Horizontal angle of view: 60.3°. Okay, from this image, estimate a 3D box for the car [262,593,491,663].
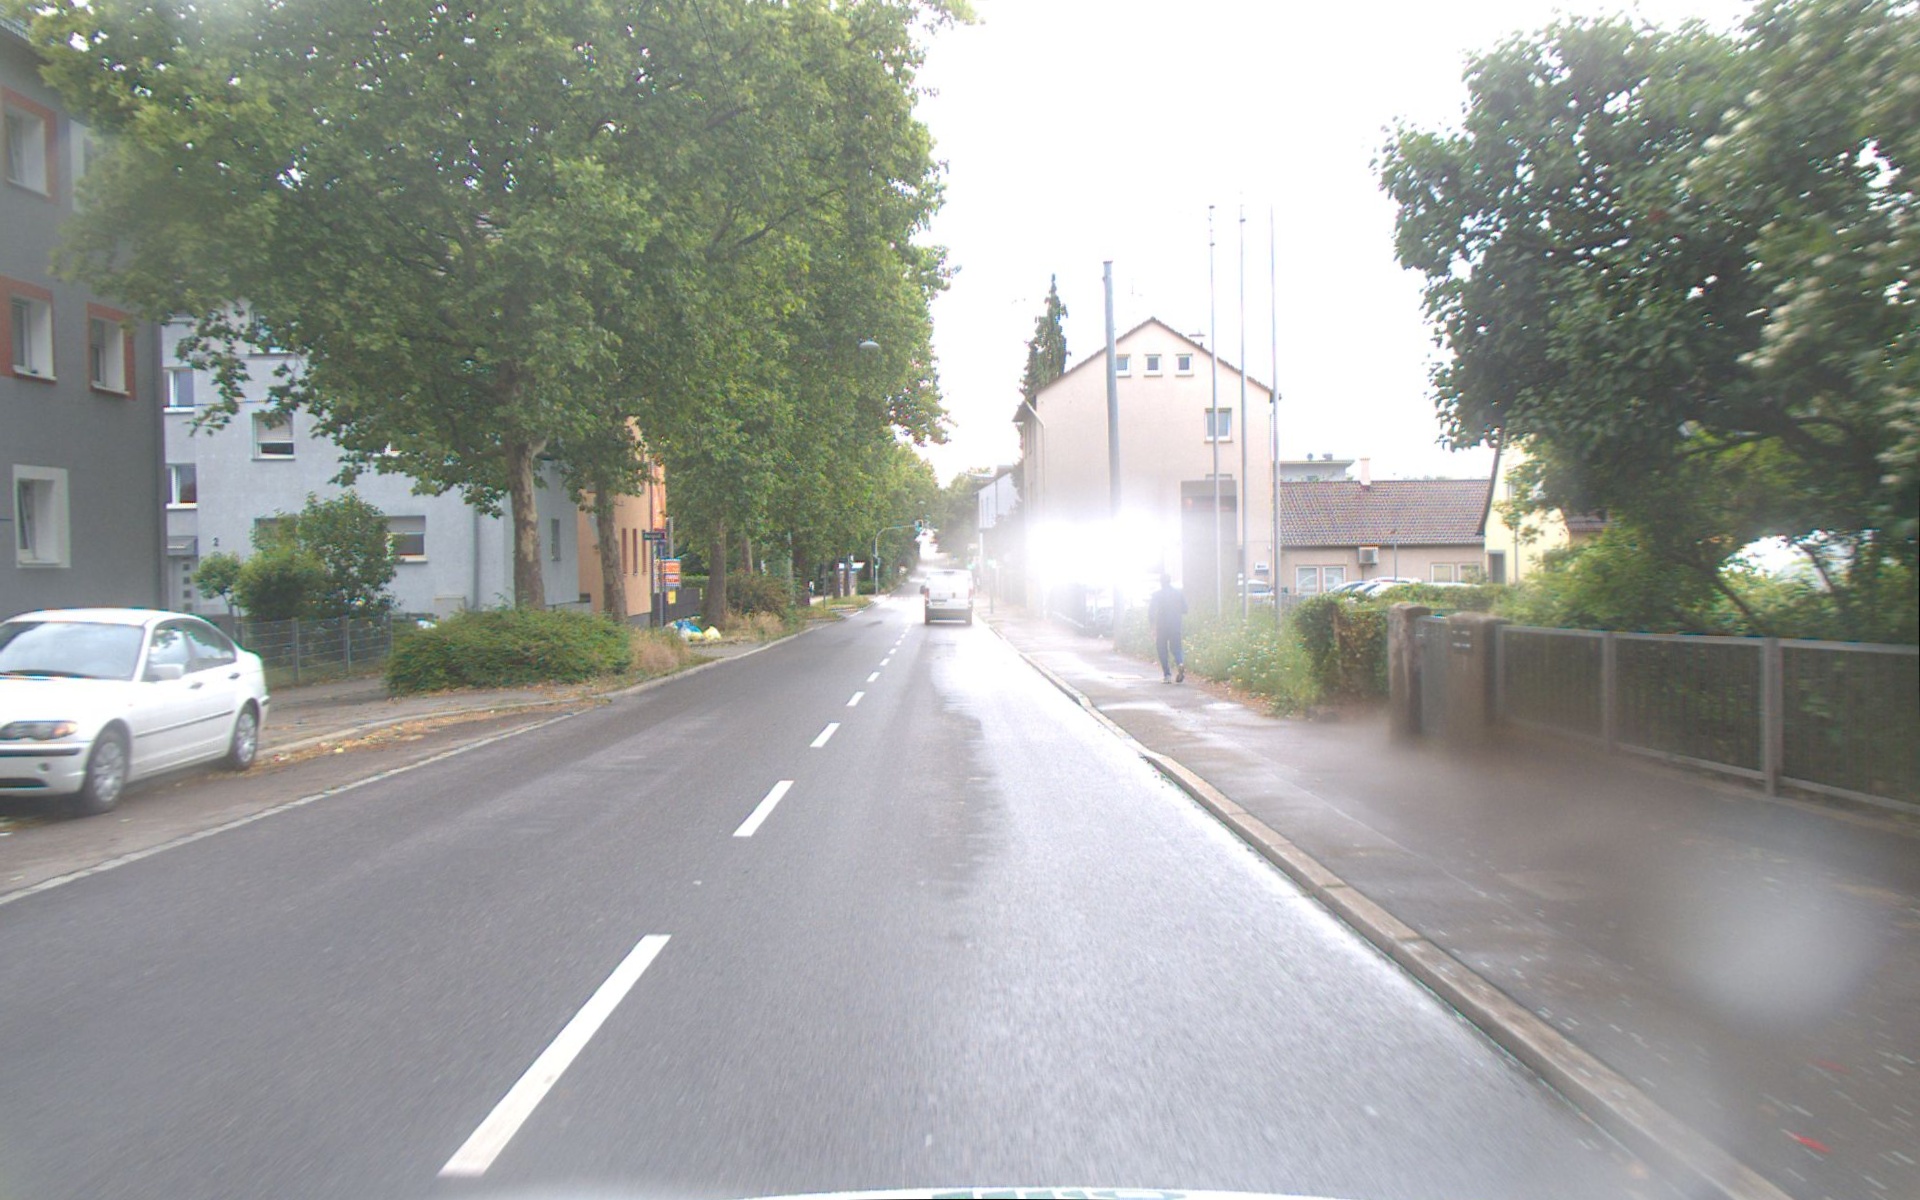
[{"bbox_3d":[-13.374,0.645,38.095,4.568,1.502,1.869,1,-1,-1],"label":"car"}]

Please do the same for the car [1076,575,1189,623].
[{"bbox_3d":[6.604,-0.019,63.596,4.142,1.767,1.869,1,-1,-1],"label":"car"}]

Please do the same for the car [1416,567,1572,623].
[{"bbox_3d":[17.208,-0.171,53.403,4.412,1.655,1.869,-1,0,-1],"label":"car"}]

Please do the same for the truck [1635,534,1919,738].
[{"bbox_3d":[12.776,0.521,23.263,5.726,2.684,2.043,1,-1,-2],"label":"truck"}]

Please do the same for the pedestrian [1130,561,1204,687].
[{"bbox_3d":[3.244,0.371,25.980,1.022,1.930,0.900,-1,-1,-1],"label":"pedestrian"}]

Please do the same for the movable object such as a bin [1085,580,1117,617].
[{"bbox_3d":[6.116,-0.056,71.686,1.209,1.536,1.110,-3,-1,-2],"label":"movable object such as a bin"}]

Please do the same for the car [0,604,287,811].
[{"bbox_3d":[-7.025,0.718,13.190,1.721,1.349,4.535,0,0,-4],"label":"car"}]

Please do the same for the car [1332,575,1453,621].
[{"bbox_3d":[16.064,-0.056,61.500,4.002,1.628,1.794,1,-1,-2],"label":"car"}]

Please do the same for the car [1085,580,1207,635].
[{"bbox_3d":[6.208,0.250,55.519,3.868,1.754,1.791,1,0,-1],"label":"car"}]

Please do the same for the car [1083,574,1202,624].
[{"bbox_3d":[6.671,-0.025,60.889,4.142,1.767,1.869,1,-1,-1],"label":"car"}]

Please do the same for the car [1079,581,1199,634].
[{"bbox_3d":[6.267,0.255,58.126,3.984,1.767,1.869,1,-1,-1],"label":"car"}]

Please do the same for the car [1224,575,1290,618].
[{"bbox_3d":[11.215,-0.108,62.692,1.771,1.557,3.626,1,-1,-1],"label":"car"}]

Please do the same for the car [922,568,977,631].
[{"bbox_3d":[-0.440,-0.006,70.046,2.236,2.597,3.999,0,-1,-1],"label":"car"}]

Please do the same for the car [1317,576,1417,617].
[{"bbox_3d":[16.729,-0.149,67.928,3.903,1.621,1.822,1,-1,17],"label":"car"}]

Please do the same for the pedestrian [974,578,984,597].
[{"bbox_3d":[1.680,-1.114,147.483,0.728,1.734,0.900,1,0,-6],"label":"pedestrian"}]

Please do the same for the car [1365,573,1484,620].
[{"bbox_3d":[16.535,-0.124,58.939,3.690,1.559,1.757,1,0,-5],"label":"car"}]

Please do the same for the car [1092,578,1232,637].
[{"bbox_3d":[6.410,0.235,52.823,4.215,1.799,1.999,1,-1,-1],"label":"car"}]
